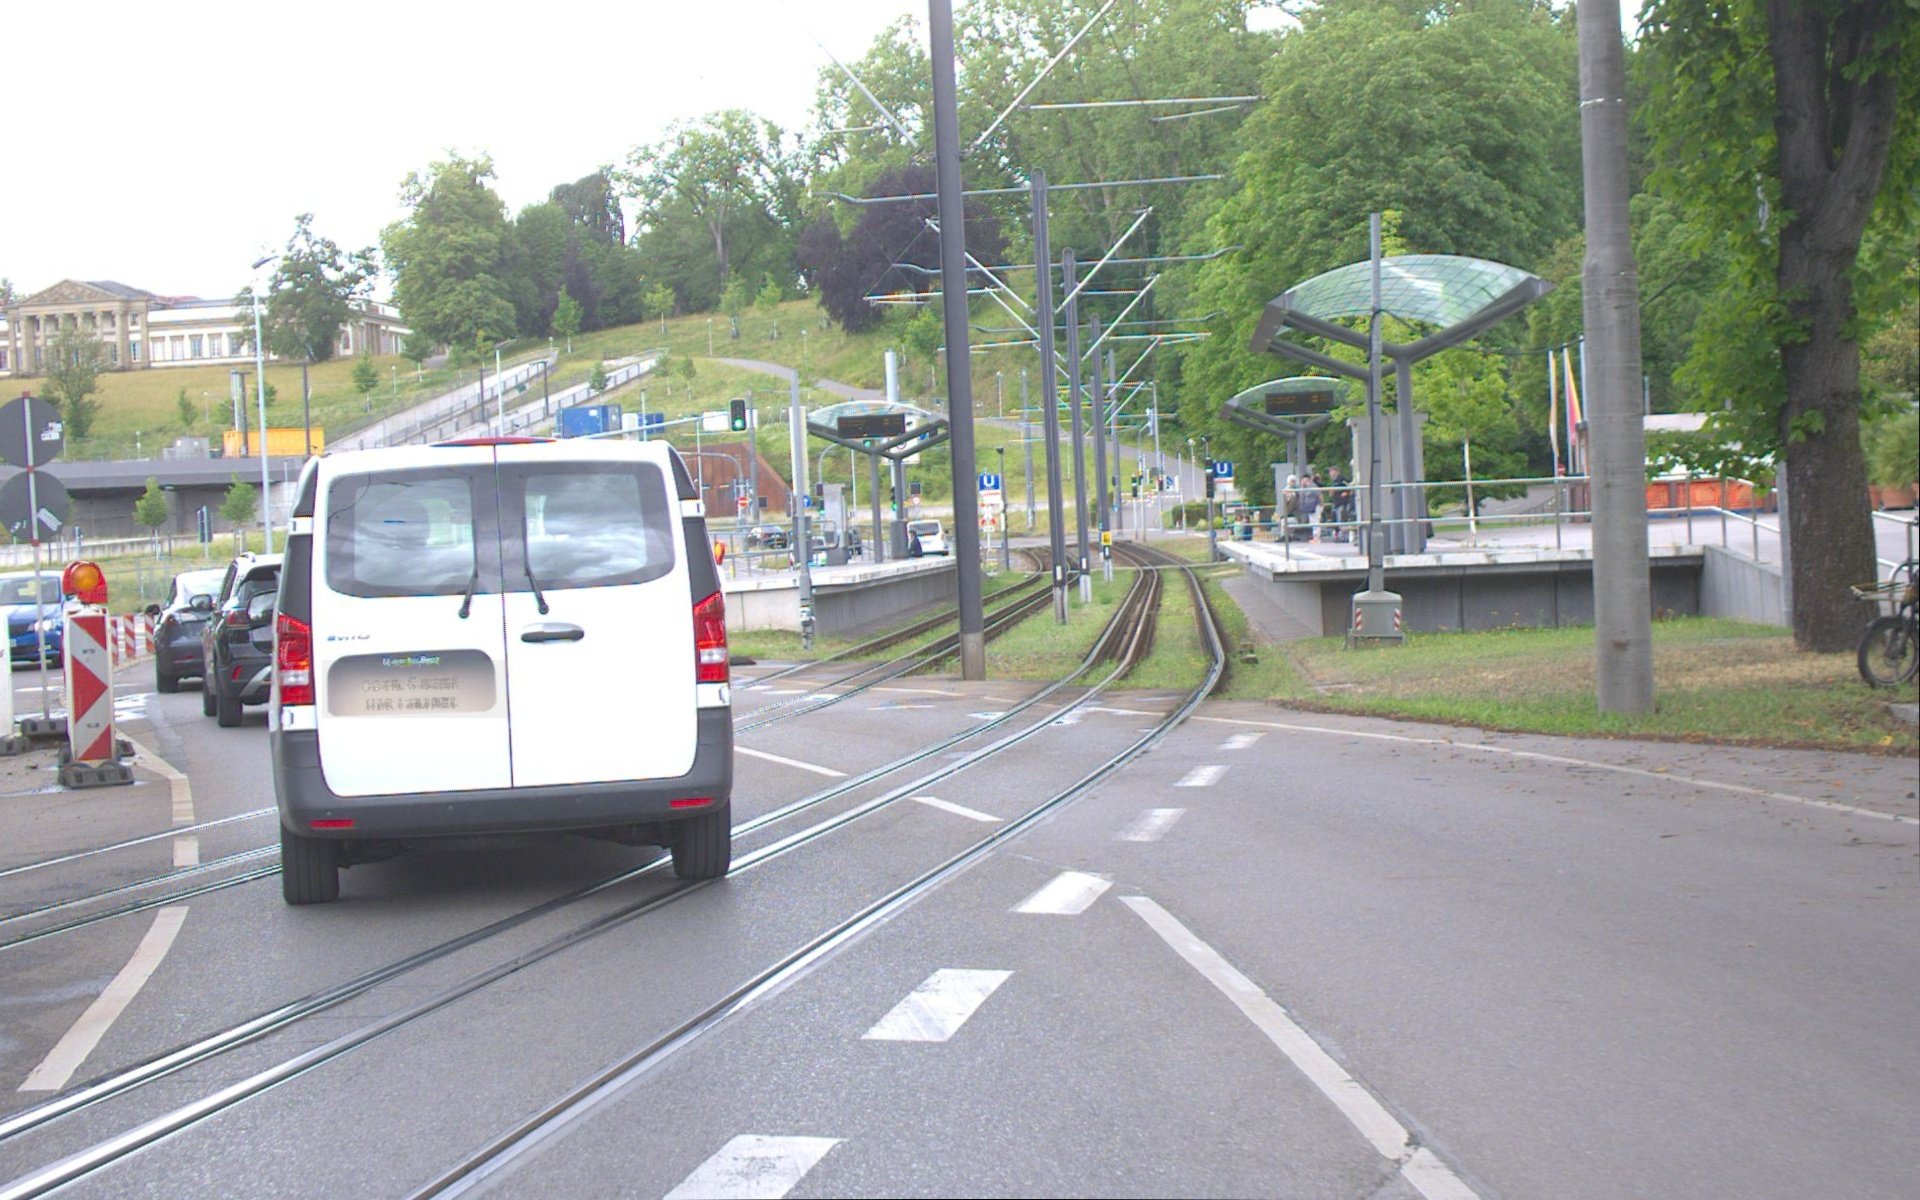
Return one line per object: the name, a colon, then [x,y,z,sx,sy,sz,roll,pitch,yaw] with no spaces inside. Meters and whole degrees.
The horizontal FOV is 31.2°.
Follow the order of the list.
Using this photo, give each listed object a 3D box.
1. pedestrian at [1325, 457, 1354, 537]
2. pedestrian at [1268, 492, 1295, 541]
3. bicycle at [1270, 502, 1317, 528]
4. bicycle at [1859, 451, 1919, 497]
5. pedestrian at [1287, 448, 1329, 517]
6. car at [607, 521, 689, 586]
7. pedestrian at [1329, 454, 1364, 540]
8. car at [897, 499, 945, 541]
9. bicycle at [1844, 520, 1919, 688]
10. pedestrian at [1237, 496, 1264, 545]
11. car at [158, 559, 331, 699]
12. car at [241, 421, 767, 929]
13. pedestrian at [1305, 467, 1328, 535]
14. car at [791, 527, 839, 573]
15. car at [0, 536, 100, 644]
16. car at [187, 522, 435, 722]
pedestrian: [8.768,-2.373,79.392,0.633,1.832,0.950,0,1,5]
pedestrian: [7.856,-2.044,83.964,0.657,1.187,0.676,0,3,5]
bicycle: [14.031,-3.569,144.708,1.912,0.972,0.531,-3,1,4]
bicycle: [22.171,-2.996,81.726,0.562,1.057,1.716,-1,1,-27]
pedestrian: [8.447,-2.845,83.426,0.860,1.671,0.762,-1,1,-6]
car: [-8.811,-1.332,97.311,1.993,1.766,4.000,0,1,-1]
pedestrian: [7.608,-2.018,67.674,0.632,1.681,0.866,0,1,3]
car: [-1.919,-3.924,168.839,2.200,2.007,5.152,-2,1,-2]
bicycle: [7.368,-0.009,24.418,1.992,1.154,0.741,-3,1,8]
pedestrian: [7.899,-2.171,93.601,0.673,1.319,0.968,0,1,2]
car: [-8.736,0.312,42.238,1.838,1.577,4.063,-1,1,-9]
car: [-2.092,0.233,15.367,1.958,1.897,4.463,-1,1,-9]
pedestrian: [8.514,-2.370,82.200,0.524,1.614,0.675,0,1,5]
car: [-5.724,-1.988,135.825,1.752,1.766,4.000,0,1,-1]
car: [-14.467,-0.157,52.793,1.694,1.456,3.914,-4,3,-4]
car: [-6.021,0.149,32.287,1.838,1.723,4.063,-1,1,-5]
